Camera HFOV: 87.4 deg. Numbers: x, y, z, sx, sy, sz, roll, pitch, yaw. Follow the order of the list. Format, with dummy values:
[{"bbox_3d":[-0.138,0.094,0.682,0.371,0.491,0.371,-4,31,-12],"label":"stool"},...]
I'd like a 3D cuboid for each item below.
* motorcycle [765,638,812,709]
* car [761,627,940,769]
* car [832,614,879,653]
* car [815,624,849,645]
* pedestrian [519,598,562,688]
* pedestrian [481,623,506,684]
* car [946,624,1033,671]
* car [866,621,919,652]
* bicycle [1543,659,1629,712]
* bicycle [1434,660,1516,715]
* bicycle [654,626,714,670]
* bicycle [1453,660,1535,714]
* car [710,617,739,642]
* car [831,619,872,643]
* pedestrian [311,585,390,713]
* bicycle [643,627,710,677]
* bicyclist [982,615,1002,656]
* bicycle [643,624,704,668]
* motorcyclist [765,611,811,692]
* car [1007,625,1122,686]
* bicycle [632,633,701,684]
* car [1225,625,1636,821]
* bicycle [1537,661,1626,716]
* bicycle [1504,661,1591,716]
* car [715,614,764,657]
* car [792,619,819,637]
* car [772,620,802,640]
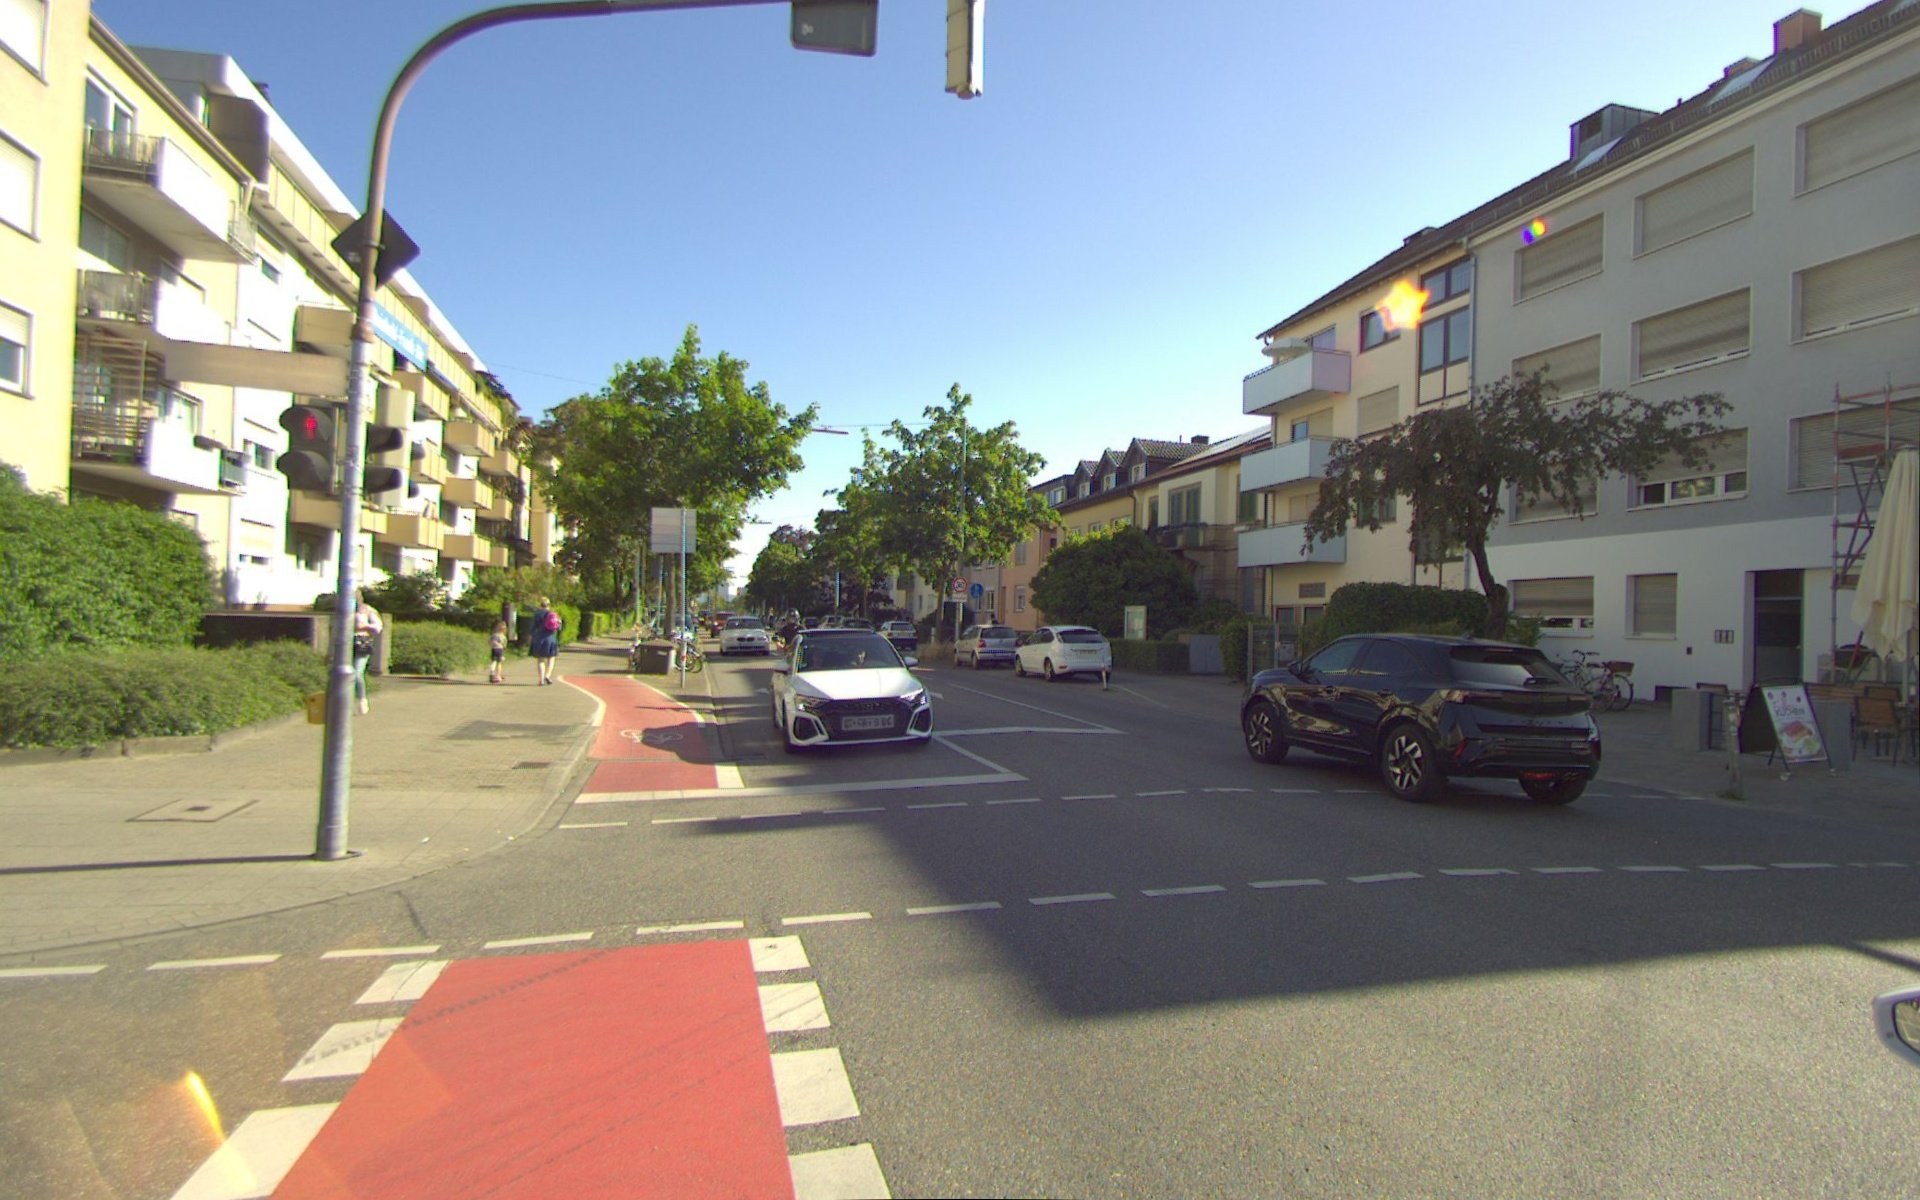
[{"bbox_3d":[-3.023,1.252,17.589,0.736,1.149,1.680,0,-1,-12],"label":"motorcycle"},{"bbox_3d":[-1.653,1.168,13.641,1.901,1.455,4.257,-2,0,-13],"label":"car"},{"bbox_3d":[-4.734,1.499,45.033,1.570,1.586,4.079,2,-2,-13],"label":"car"},{"bbox_3d":[-9.407,2.501,73.524,1.884,1.449,3.987,-1,-1,-16],"label":"car"},{"bbox_3d":[-8.230,0.840,19.720,0.565,1.705,0.966,2,-1,-13],"label":"pedestrian"},{"bbox_3d":[-9.200,1.050,19.824,0.381,1.161,0.529,2,-1,-22],"label":"pedestrian"},{"bbox_3d":[0.933,1.581,34.357,1.884,1.449,3.987,-1,-1,-16],"label":"car"},{"bbox_3d":[-3.472,1.825,50.694,1.884,1.449,3.987,-1,-1,-16],"label":"car"},{"bbox_3d":[12.621,1.708,20.301,0.504,0.952,1.590,2,-1,-13],"label":"bicycle"},{"bbox_3d":[9.942,1.668,19.439,0.504,0.952,1.590,2,-1,-13],"label":"bicycle"},{"bbox_3d":[-8.082,1.410,29.470,1.547,1.175,0.449,1,-9,7],"label":"bicycle"},{"bbox_3d":[10.496,1.694,19.792,0.504,0.952,1.590,2,-1,-13],"label":"bicycle"},{"bbox_3d":[-15.459,1.886,65.821,1.784,1.579,4.237,0,-1,-14],"label":"car"},{"bbox_3d":[-6.803,1.907,62.716,1.884,1.449,3.987,-1,-1,-16],"label":"car"},{"bbox_3d":[-7.903,0.631,13.053,0.685,1.617,0.645,2,-1,-17],"label":"pedestrian"},{"bbox_3d":[-7.394,1.359,26.200,1.547,1.177,0.448,1,13,7],"label":"bicycle"},{"bbox_3d":[1.261,1.395,39.782,0.546,1.569,0.811,2,0,-16],"label":"bicyclist"},{"bbox_3d":[-8.259,1.323,28.988,1.547,1.175,0.449,1,-9,7],"label":"bicycle"},{"bbox_3d":[-3.002,0.878,17.502,0.744,1.374,0.790,0,-1,-13],"label":"motorcyclist"},{"bbox_3d":[2.828,1.488,28.099,1.884,1.539,3.987,1,-1,-16],"label":"car"},{"bbox_3d":[-7.474,1.490,25.608,1.547,1.177,0.448,1,13,7],"label":"bicycle"},{"bbox_3d":[4.527,1.091,10.414,1.738,1.579,3.990,2,-1,-13],"label":"car"},{"bbox_3d":[12.102,1.707,19.600,0.504,0.952,1.590,2,-1,-13],"label":"bicycle"},{"bbox_3d":[11.290,1.681,19.354,0.504,0.952,1.590,2,-1,-13],"label":"bicycle"},{"bbox_3d":[-8.684,1.361,39.379,1.784,1.579,4.237,0,-1,-14],"label":"car"},{"bbox_3d":[-13.635,2.451,88.481,1.884,1.449,3.987,-1,-1,-16],"label":"car"},{"bbox_3d":[-13.544,2.332,78.319,1.813,1.452,4.162,2,-1,-17],"label":"car"}]
